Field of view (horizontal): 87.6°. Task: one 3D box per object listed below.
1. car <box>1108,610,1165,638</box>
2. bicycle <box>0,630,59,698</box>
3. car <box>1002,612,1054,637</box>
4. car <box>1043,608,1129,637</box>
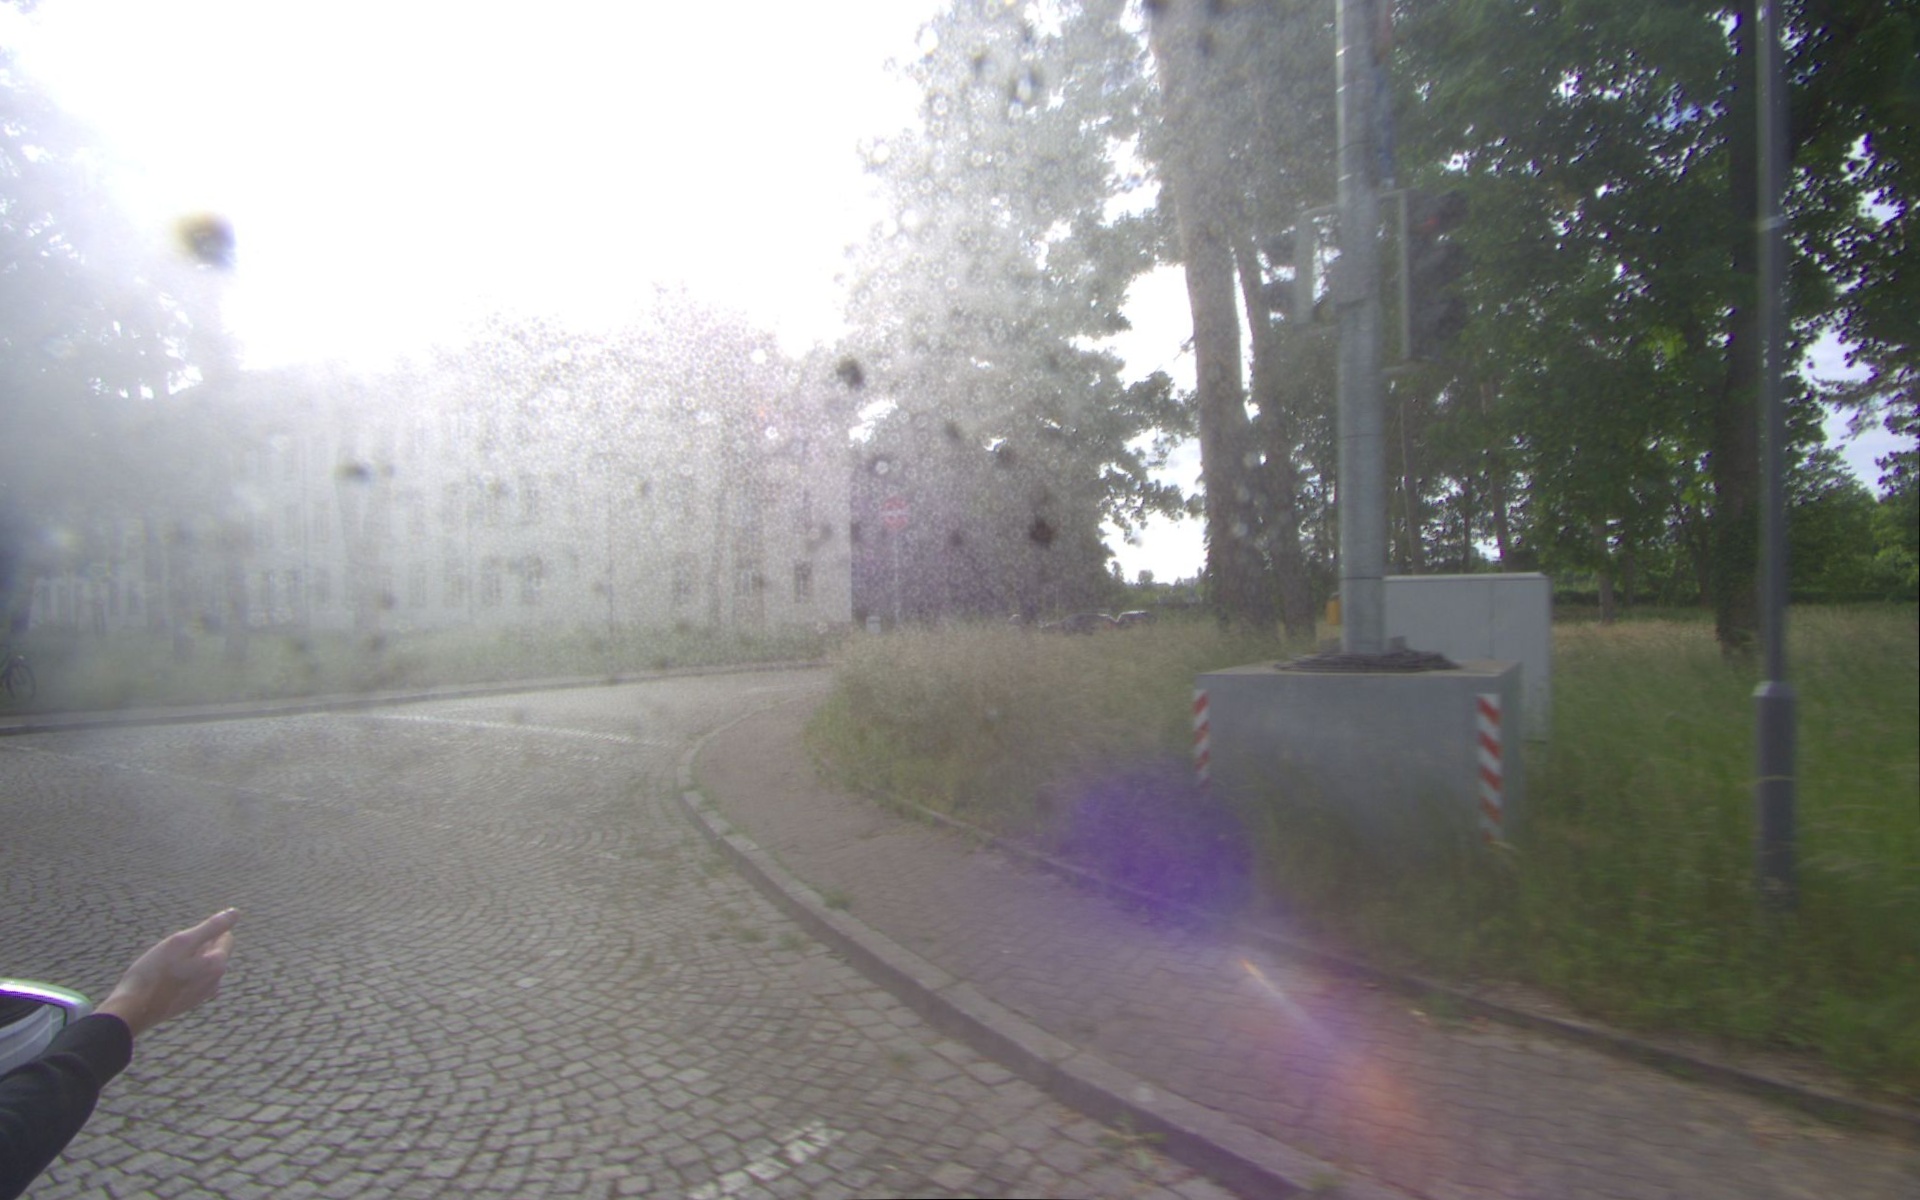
[{"bbox_3d":[10.361,1.370,58.606,1.971,1.553,3.979,-1,-1,32],"label":"car"},{"bbox_3d":[-16.422,1.088,17.291,1.805,1.077,0.643,-1,3,28],"label":"bicycle"},{"bbox_3d":[4.310,1.518,63.158,1.748,1.553,3.675,-1,-1,32],"label":"car"},{"bbox_3d":[7.044,1.260,56.216,4.384,1.607,1.991,-1,0,30],"label":"car"}]
